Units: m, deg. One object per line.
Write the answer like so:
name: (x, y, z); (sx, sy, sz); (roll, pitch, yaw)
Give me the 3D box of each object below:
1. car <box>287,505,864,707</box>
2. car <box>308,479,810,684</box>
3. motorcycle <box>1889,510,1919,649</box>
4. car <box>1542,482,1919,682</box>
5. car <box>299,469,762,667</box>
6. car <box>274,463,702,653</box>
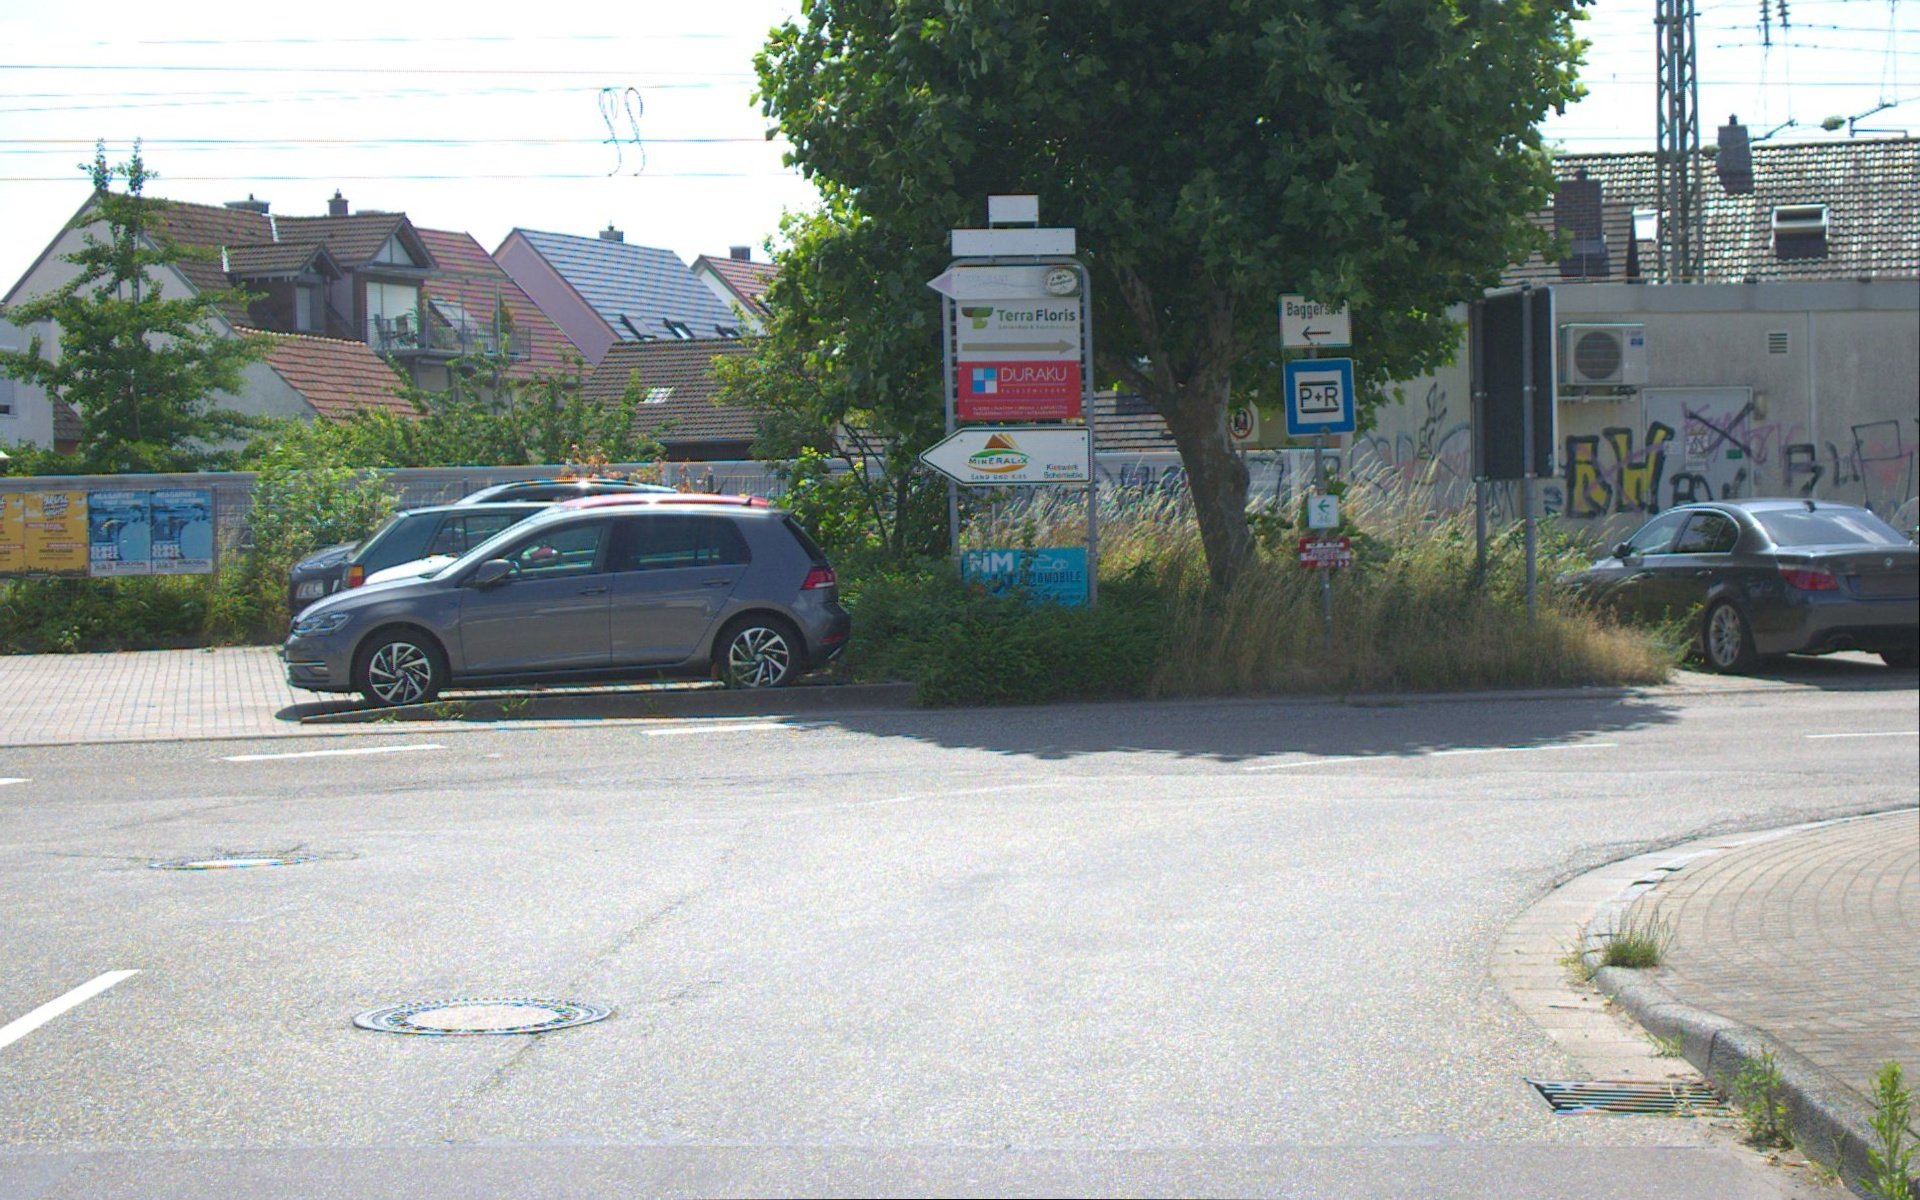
car: (-2.907, 0.028, 25.948); (4.186, 1.458, 1.665); (0, 1, -8)
car: (-3.346, -0.167, 28.564); (3.986, 1.581, 1.780); (-1, 1, -9)
motorcycle: (9.083, -0.161, 30.168); (0.897, 1.224, 1.997); (-1, 3, -16)
car: (6.729, -0.204, 29.082); (1.751, 1.381, 4.002); (0, 5, -20)
car: (-3.890, -0.313, 31.009); (3.986, 1.652, 2.001); (-1, 1, -9)
car: (-4.584, -0.399, 33.390); (3.986, 1.724, 1.771); (1, 1, -9)
